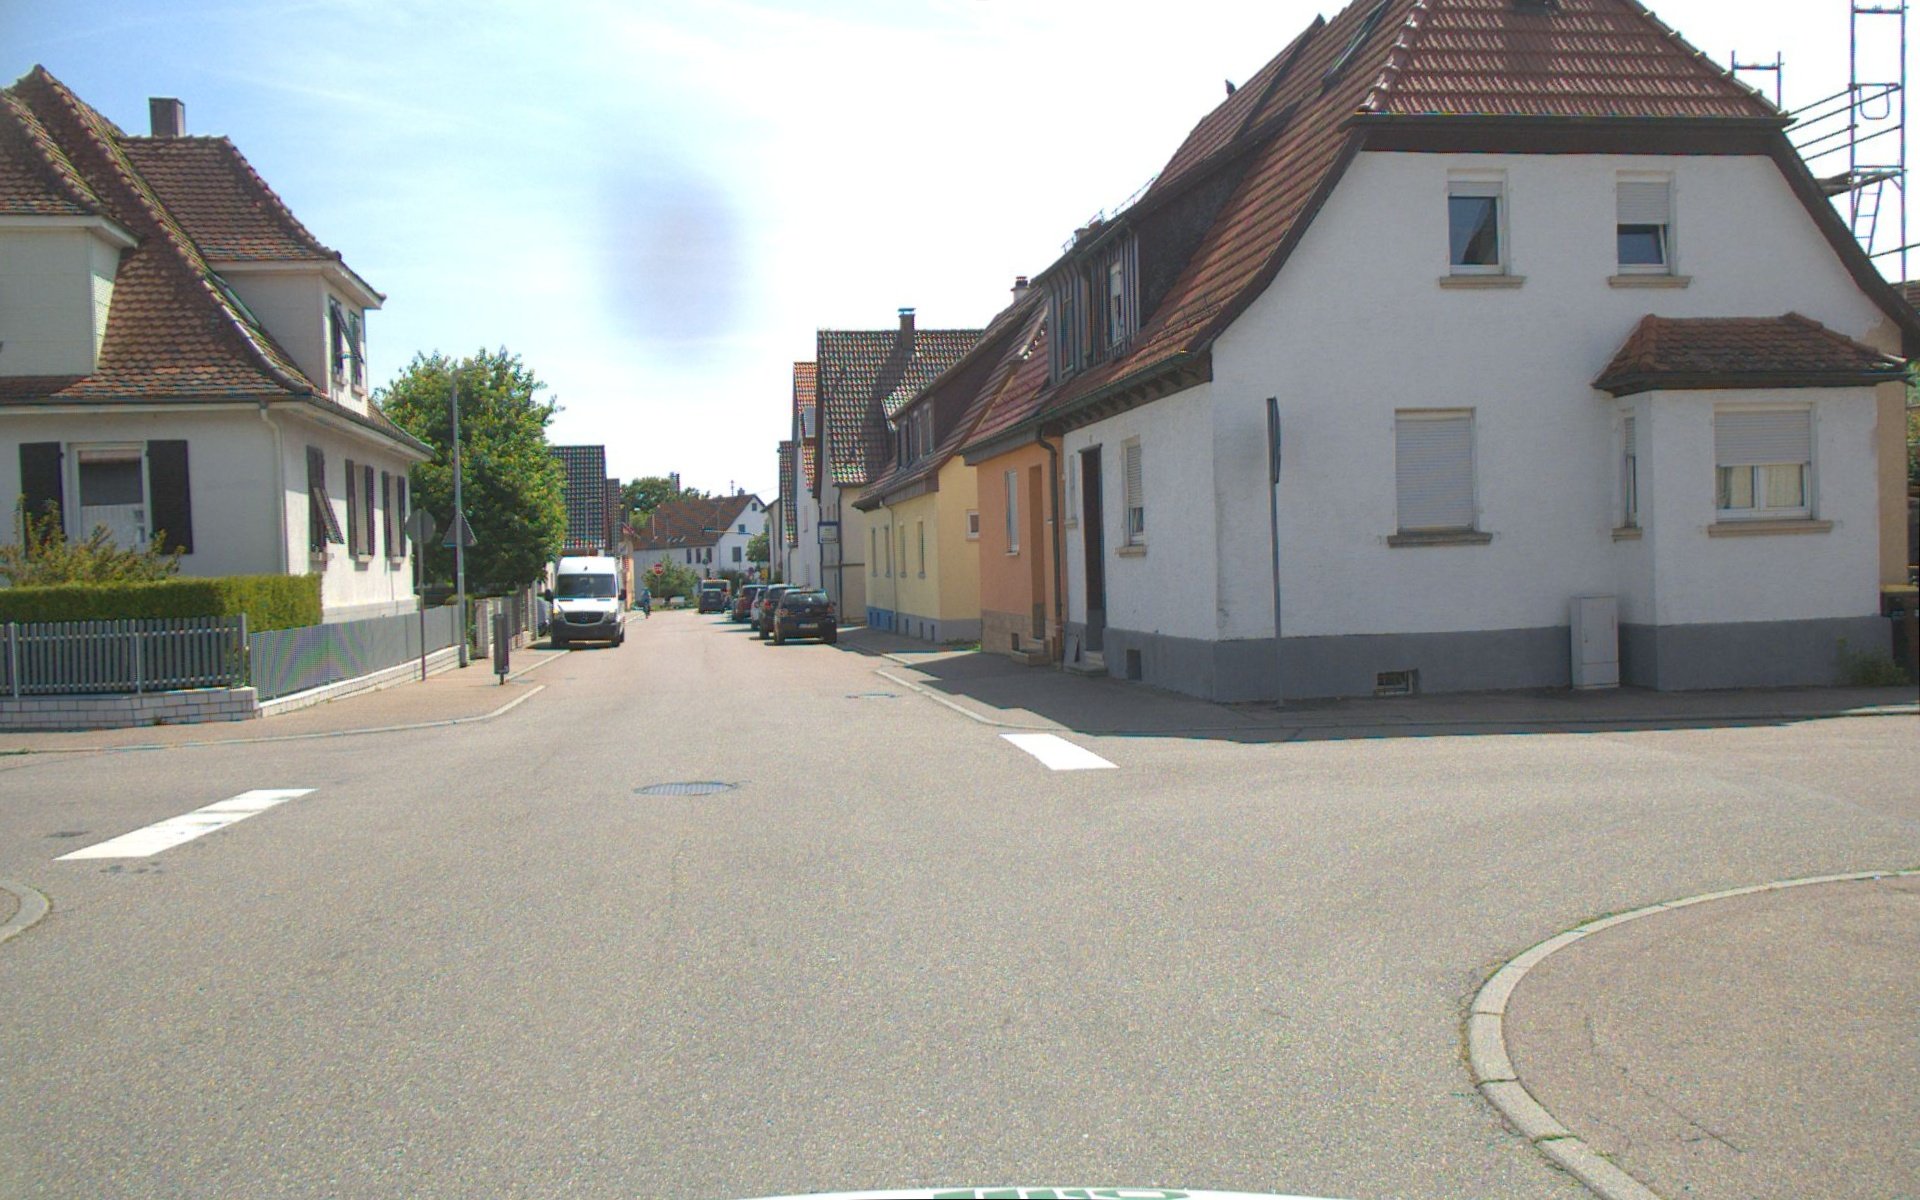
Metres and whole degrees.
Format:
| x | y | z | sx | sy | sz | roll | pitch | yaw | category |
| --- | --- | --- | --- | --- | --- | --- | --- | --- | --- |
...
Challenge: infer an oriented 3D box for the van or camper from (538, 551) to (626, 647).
| x | y | z | sx | sy | sz | roll | pitch | yaw | category |
| --- | --- | --- | --- | --- | --- | --- | --- | --- | --- |
| -11.221 | -0.052 | 49.497 | 2.145 | 2.616 | 6.791 | -1 | 0 | -10 | van or camper |

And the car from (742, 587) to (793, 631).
| x | y | z | sx | sy | sz | roll | pitch | yaw | category |
| --- | --- | --- | --- | --- | --- | --- | --- | --- | --- |
| -7.299 | 0.326 | 62.544 | 1.644 | 1.586 | 3.031 | -2 | 0 | -12 | car |

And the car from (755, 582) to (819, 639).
| x | y | z | sx | sy | sz | roll | pitch | yaw | category |
| --- | --- | --- | --- | --- | --- | --- | --- | --- | --- |
| -5.352 | 0.297 | 50.791 | 1.697 | 1.627 | 4.244 | -2 | 1 | -9 | car |

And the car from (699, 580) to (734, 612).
| x | y | z | sx | sy | sz | roll | pitch | yaw | category |
| --- | --- | --- | --- | --- | --- | --- | --- | --- | --- |
| -17.917 | -0.291 | 121.790 | 2.087 | 2.196 | 4.733 | -2 | 1 | -4 | car |

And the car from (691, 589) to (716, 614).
| x | y | z | sx | sy | sz | roll | pitch | yaw | category |
| --- | --- | --- | --- | --- | --- | --- | --- | --- | --- |
| -17.373 | 0.089 | 112.132 | 1.487 | 1.652 | 3.180 | -3 | 1 | -6 | car |

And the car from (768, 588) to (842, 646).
| x | y | z | sx | sy | sz | roll | pitch | yaw | category |
| --- | --- | --- | --- | --- | --- | --- | --- | --- | --- |
| -4.268 | 0.429 | 45.128 | 1.582 | 1.456 | 3.743 | -2 | 1 | -11 | car |

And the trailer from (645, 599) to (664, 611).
| x | y | z | sx | sy | sz | roll | pitch | yaw | category |
| --- | --- | --- | --- | --- | --- | --- | --- | --- | --- |
| -25.214 | 0.437 | 136.359 | 1.473 | 0.943 | 1.010 | 0 | 0 | -8 | trailer |

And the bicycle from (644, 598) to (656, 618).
| x | y | z | sx | sy | sz | roll | pitch | yaw | category |
| --- | --- | --- | --- | --- | --- | --- | --- | --- | --- |
| -18.355 | 0.448 | 97.818 | 0.658 | 1.152 | 2.183 | -2 | 1 | -10 | bicycle |

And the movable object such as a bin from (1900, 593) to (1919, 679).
| x | y | z | sx | sy | sz | roll | pitch | yaw | category |
| --- | --- | --- | --- | --- | --- | --- | --- | --- | --- |
| 10.758 | 0.400 | 18.490 | 0.223 | 0.963 | 0.359 | -1 | 0 | -13 | movable object such as a bin |

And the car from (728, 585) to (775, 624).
| x | y | z | sx | sy | sz | roll | pitch | yaw | category |
| --- | --- | --- | --- | --- | --- | --- | --- | --- | --- |
| -9.786 | 0.179 | 77.349 | 1.842 | 1.730 | 4.171 | -2 | 1 | -11 | car |

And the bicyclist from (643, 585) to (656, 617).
| x | y | z | sx | sy | sz | roll | pitch | yaw | category |
| --- | --- | --- | --- | --- | --- | --- | --- | --- | --- |
| -18.384 | 0.042 | 97.807 | 0.700 | 1.830 | 0.939 | -2 | 0 | -11 | bicyclist |

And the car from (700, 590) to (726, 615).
| x | y | z | sx | sy | sz | roll | pitch | yaw | category |
| --- | --- | --- | --- | --- | --- | --- | --- | --- | --- |
| -16.057 | 0.149 | 107.751 | 1.487 | 1.594 | 3.180 | -2 | 1 | -6 | car |
